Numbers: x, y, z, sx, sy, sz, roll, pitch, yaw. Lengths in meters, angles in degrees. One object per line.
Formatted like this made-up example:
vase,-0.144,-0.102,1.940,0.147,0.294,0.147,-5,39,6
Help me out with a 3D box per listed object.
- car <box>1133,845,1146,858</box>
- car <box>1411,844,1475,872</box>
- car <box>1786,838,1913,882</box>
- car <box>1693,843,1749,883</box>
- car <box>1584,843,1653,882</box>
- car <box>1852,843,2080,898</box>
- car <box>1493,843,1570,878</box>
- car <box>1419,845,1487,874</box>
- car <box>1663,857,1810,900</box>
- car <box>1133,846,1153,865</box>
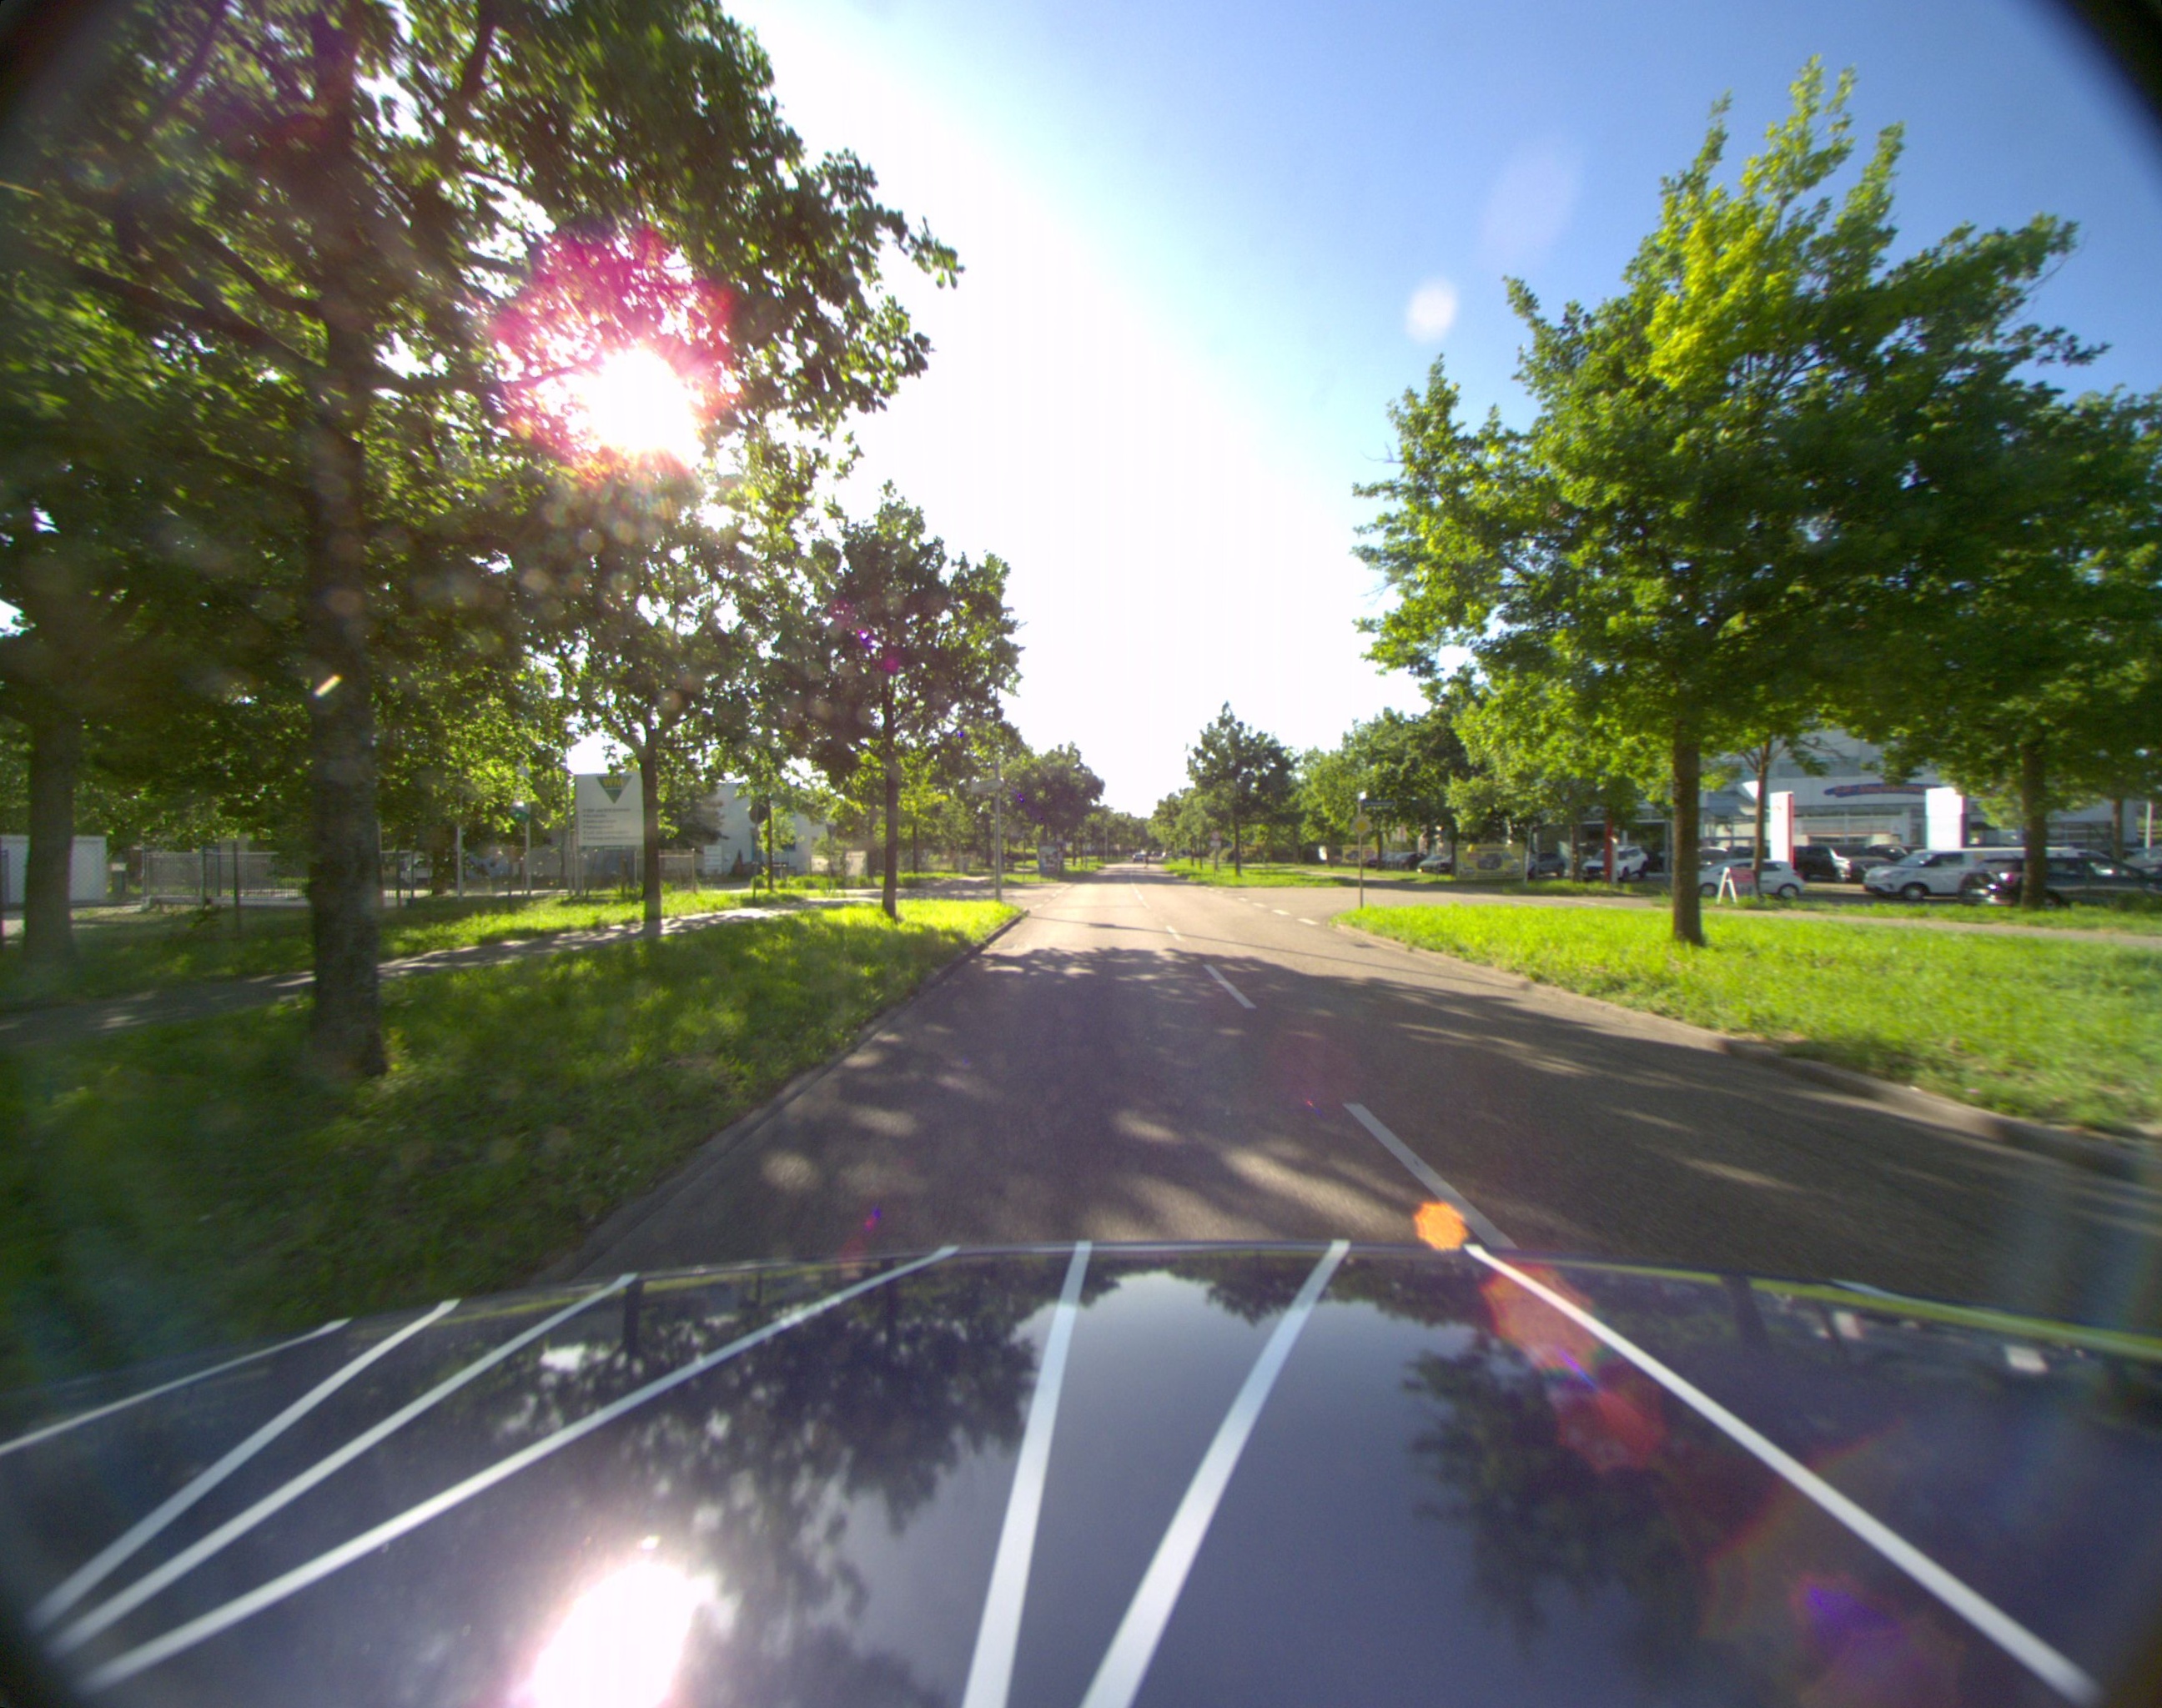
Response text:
car,9.387,-0.421,121.991,1.997,2.002,4.002,-1,0,6
car,26.057,0.263,54.725,4.004,1.827,1.996,-3,1,-24
car,37.829,0.217,37.647,2.297,1.928,5.835,-2,1,22
car,32.355,0.450,38.502,1.994,1.827,4.007,-1,1,38
car,28.371,0.428,40.093,4.007,1.827,1.995,-3,1,-40
car,31.955,0.603,27.679,5.039,1.827,2.003,-2,1,23
car,26.820,0.364,45.236,4.004,1.827,1.996,-3,1,-24
car,25.250,0.354,51.529,4.004,1.827,1.996,-3,1,-24
car,25.422,0.935,29.645,3.885,1.493,2.003,-2,1,20
car,6.558,0.155,80.623,1.997,2.002,4.002,-1,0,6
